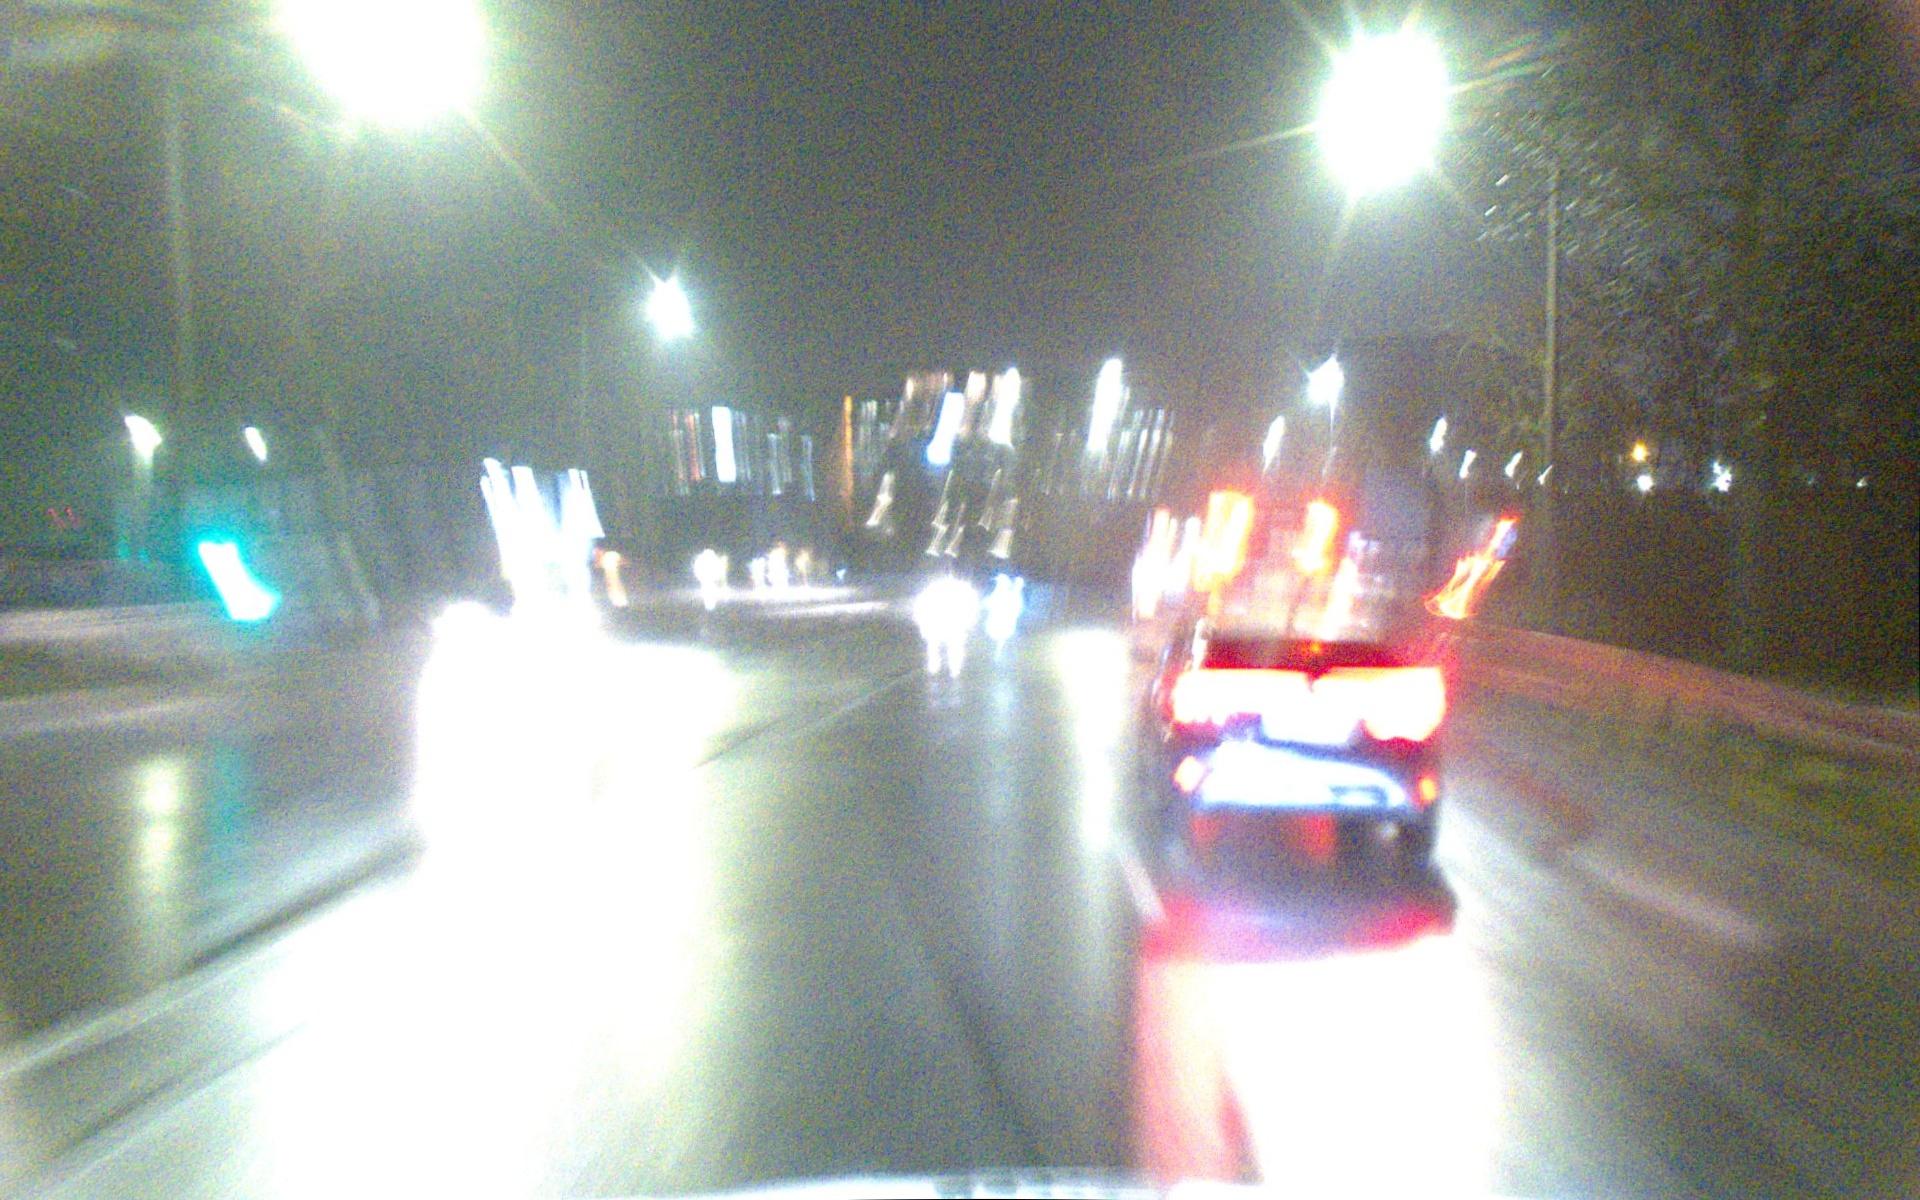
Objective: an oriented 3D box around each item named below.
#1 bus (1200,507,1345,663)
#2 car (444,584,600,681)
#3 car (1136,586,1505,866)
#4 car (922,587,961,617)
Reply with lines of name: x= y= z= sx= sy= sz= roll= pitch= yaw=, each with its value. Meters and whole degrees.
bus: x=7.407 y=-0.331 z=39.997 sx=2.978 sy=3.268 sz=9.058 roll=2 pitch=0 yaw=9
car: x=-7.380 y=0.501 z=28.222 sx=1.790 sy=1.530 sz=4.185 roll=0 pitch=0 yaw=-4
car: x=2.236 y=0.698 z=11.300 sx=1.951 sy=1.551 sz=4.002 roll=0 pitch=0 yaw=5
car: x=-0.978 y=0.096 z=90.106 sx=1.728 sy=1.482 sz=3.955 roll=3 pitch=0 yaw=4
